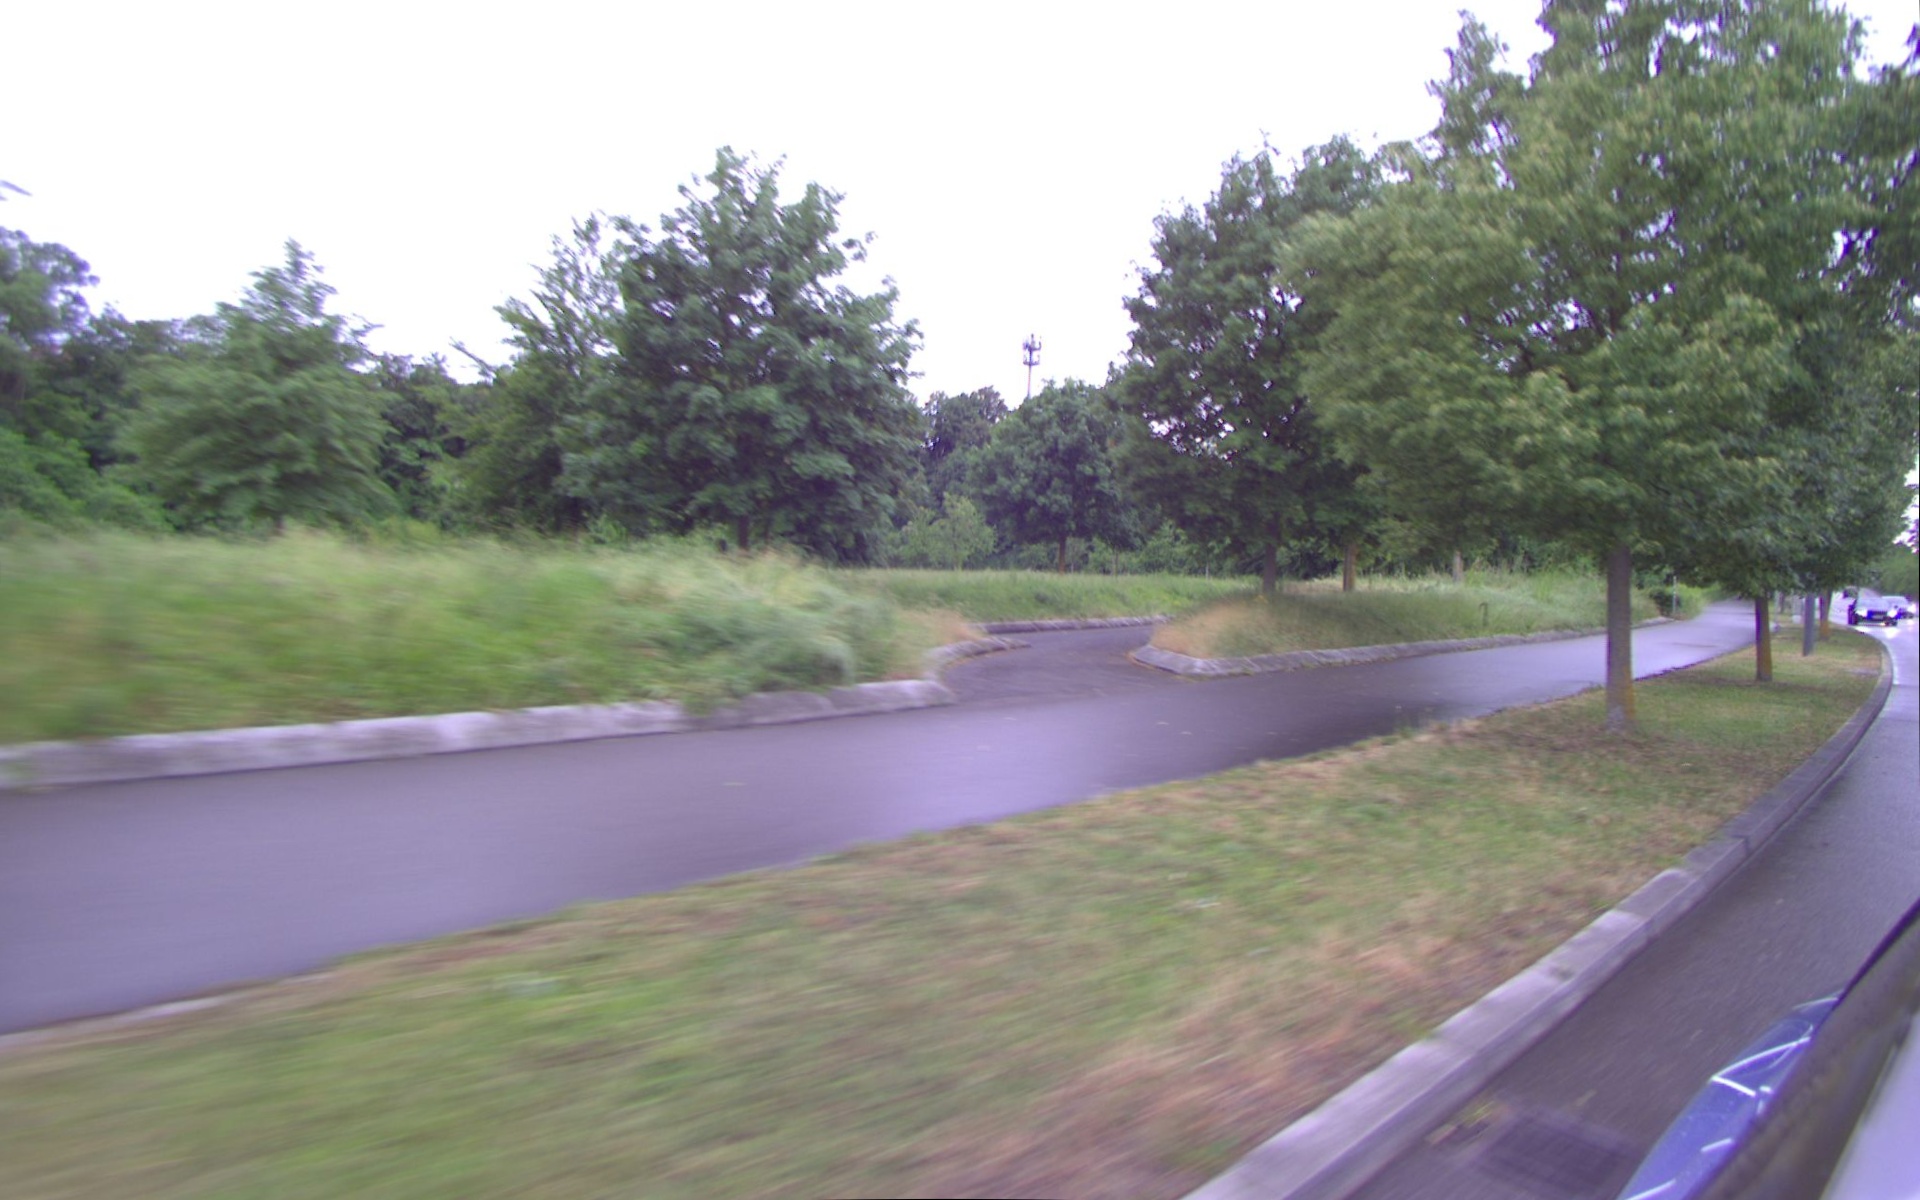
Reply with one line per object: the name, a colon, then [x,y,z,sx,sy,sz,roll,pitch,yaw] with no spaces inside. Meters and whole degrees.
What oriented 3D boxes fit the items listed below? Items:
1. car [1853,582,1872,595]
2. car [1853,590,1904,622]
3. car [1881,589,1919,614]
car: [147.778,-1.894,165.715,2.010,1.943,5.025,1,1,38]
car: [48.815,0.286,53.831,1.817,1.575,3.943,1,2,40]
car: [64.061,0.082,68.789,1.816,1.575,3.947,1,2,37]
